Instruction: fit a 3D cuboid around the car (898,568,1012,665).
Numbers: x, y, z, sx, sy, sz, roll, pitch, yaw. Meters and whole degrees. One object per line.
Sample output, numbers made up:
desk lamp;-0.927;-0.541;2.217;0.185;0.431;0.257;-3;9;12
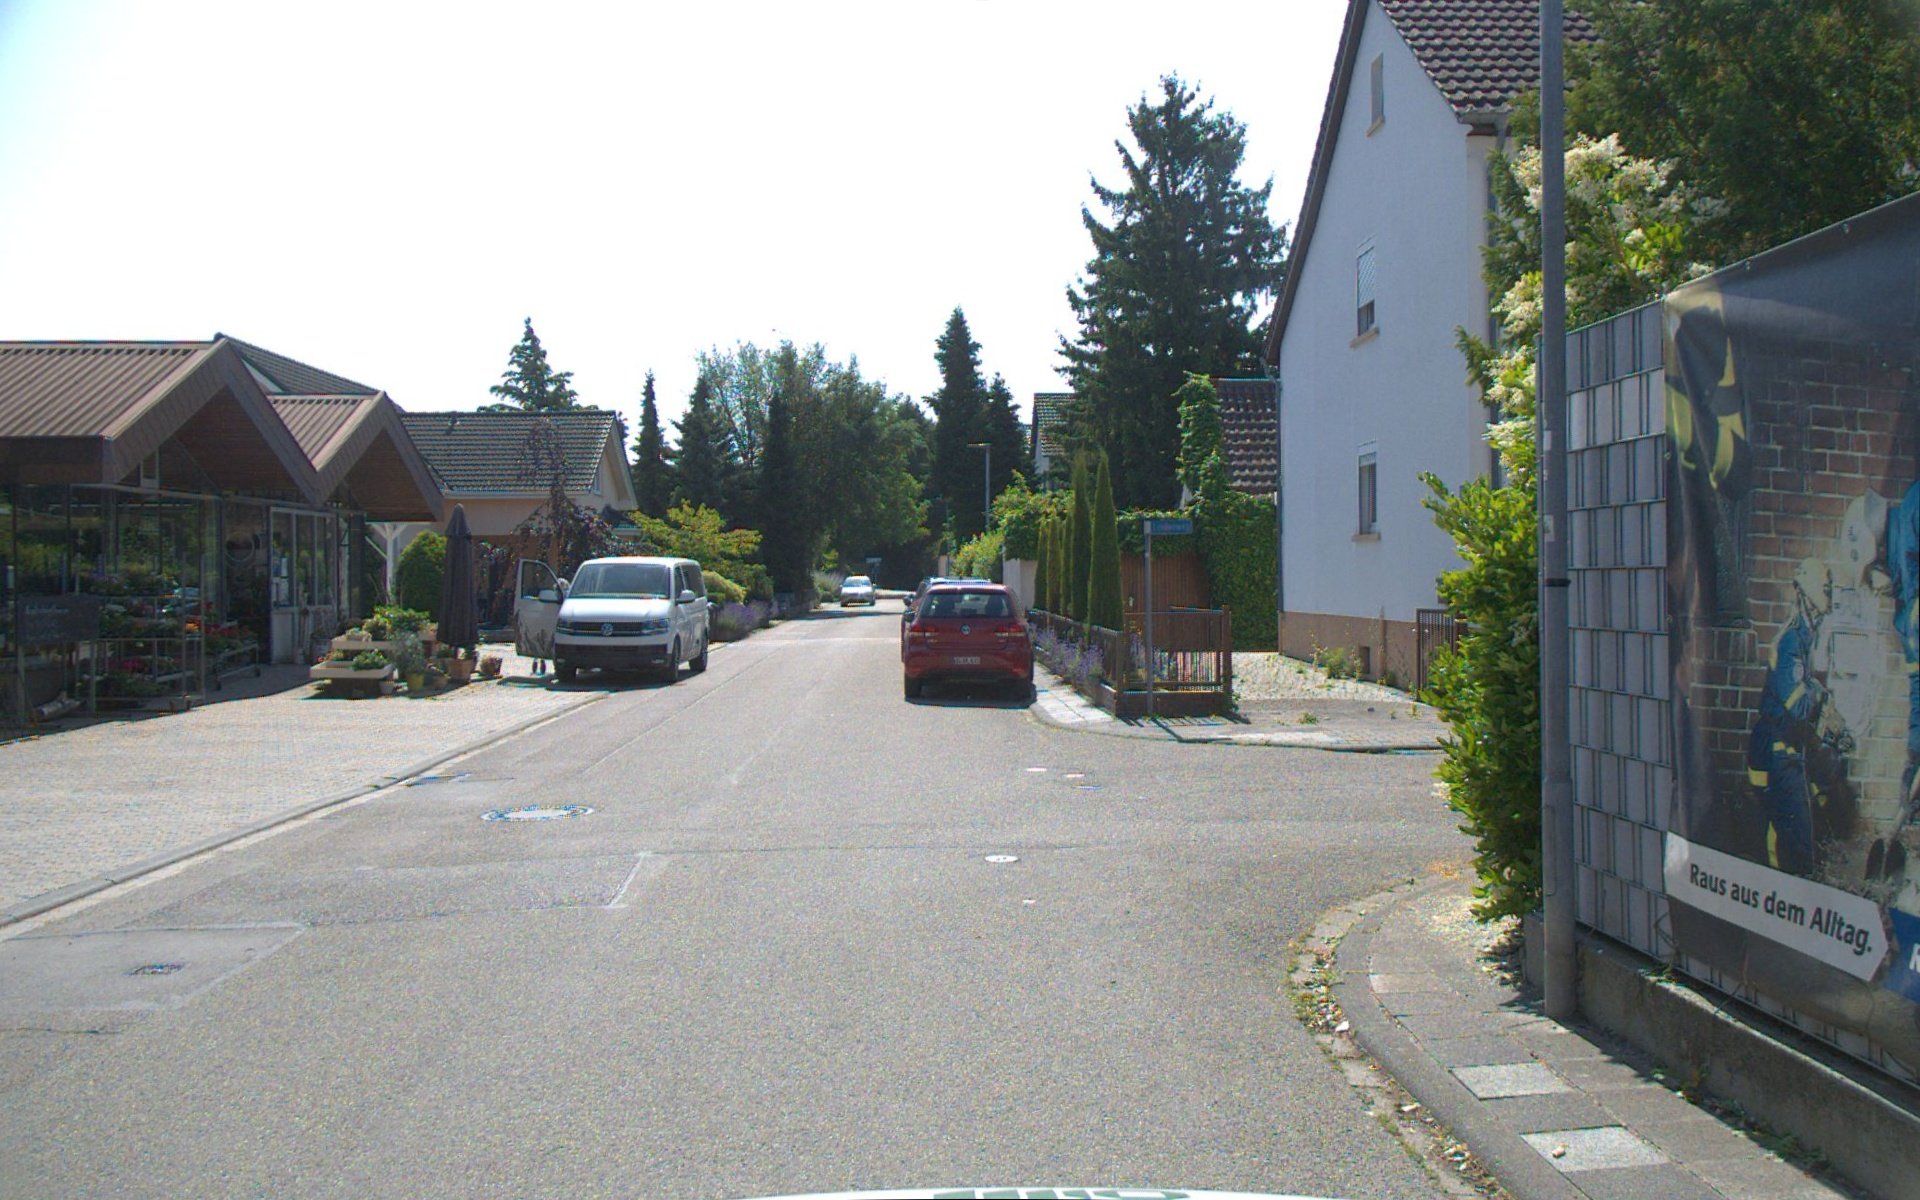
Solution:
car;-0.159;0.263;30.081;1.786;1.643;3.997;0;1;-4

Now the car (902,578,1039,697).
car;0.190;0.459;23.244;1.738;1.505;4.001;1;1;2

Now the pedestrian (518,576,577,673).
pedestrian;-6.803;0.386;27.290;0.704;1.565;0.640;0;1;31

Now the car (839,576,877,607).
car;-5.236;-0.474;85.083;1.717;1.513;4.375;-1;1;-1

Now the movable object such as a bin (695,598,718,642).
movable object such as a bin;-6.221;0.484;40.559;0.484;1.042;0.447;-1;1;-2

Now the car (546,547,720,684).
car;-5.293;0.209;27.415;1.889;2.049;4.896;-1;1;0
